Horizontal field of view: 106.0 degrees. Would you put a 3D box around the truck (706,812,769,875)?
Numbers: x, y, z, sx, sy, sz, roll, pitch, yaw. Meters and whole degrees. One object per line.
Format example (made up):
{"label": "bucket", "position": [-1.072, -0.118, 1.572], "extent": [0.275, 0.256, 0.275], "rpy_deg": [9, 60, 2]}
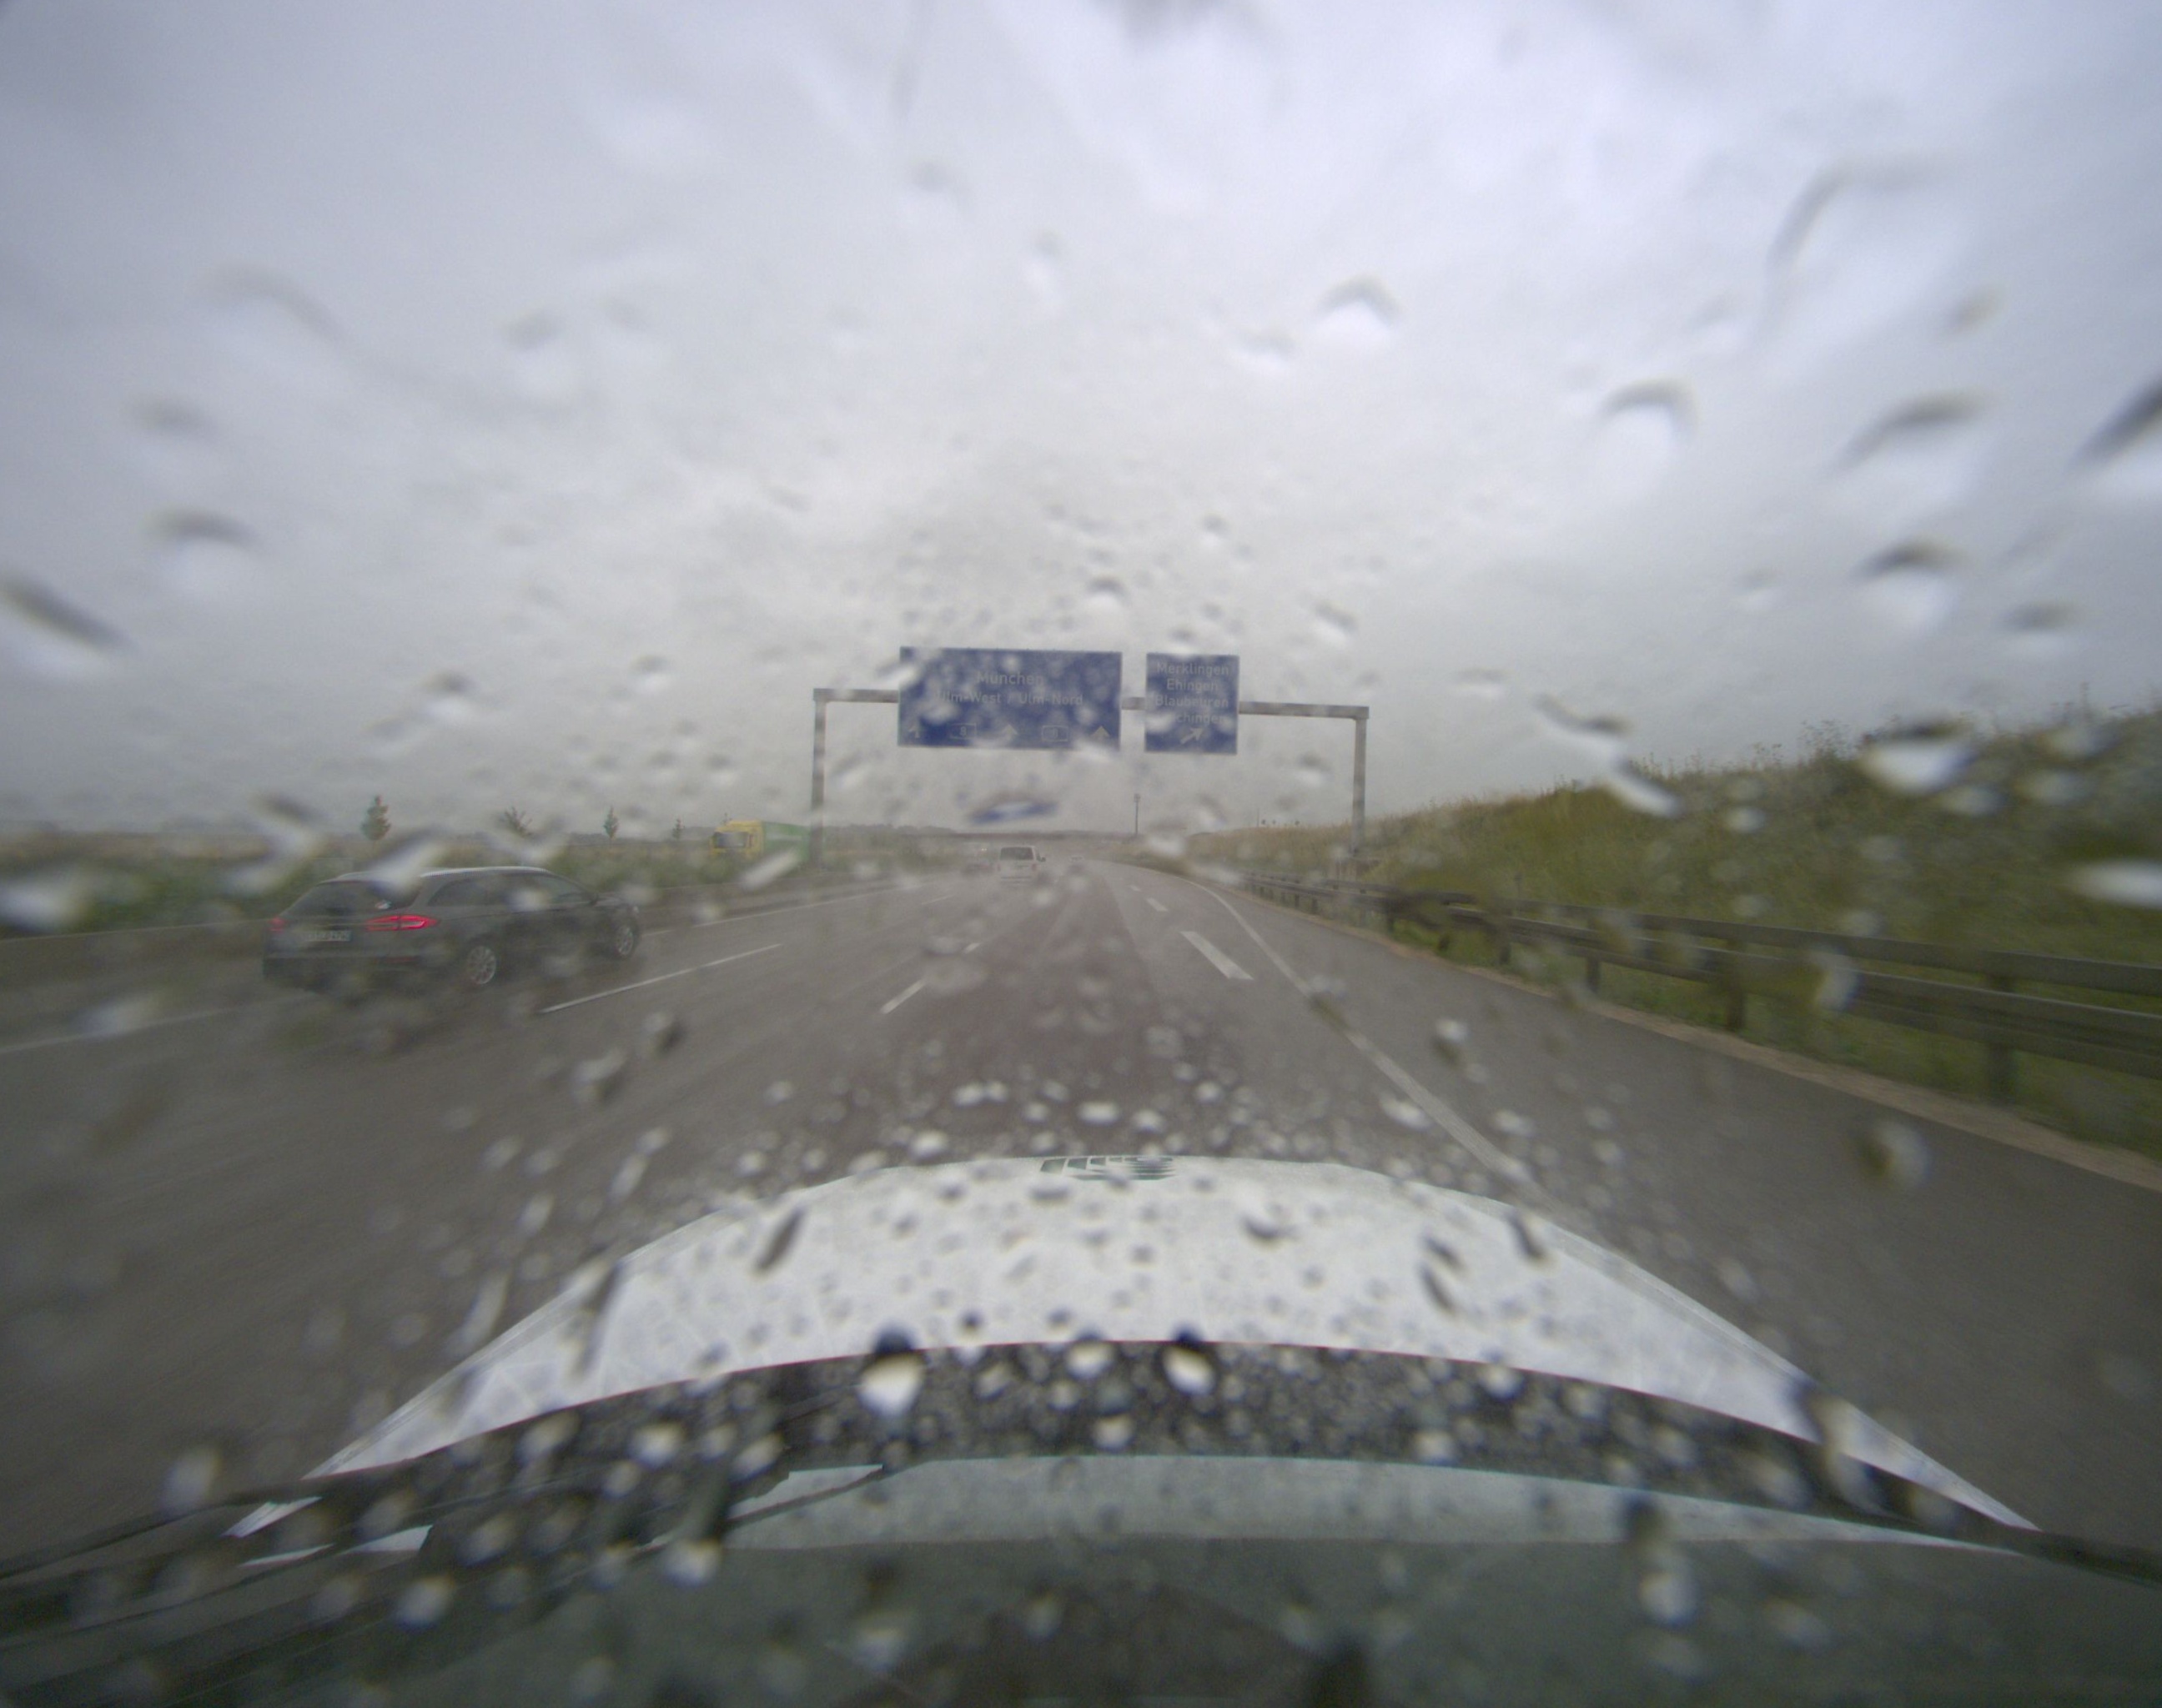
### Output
{"label": "truck", "position": [-22.630, -0.655, 53.849], "extent": [2.003, 3.991, 4.820], "rpy_deg": [-1, 0, 1]}

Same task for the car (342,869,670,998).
{"label": "car", "position": [-7.452, 0.923, 11.125], "extent": [1.607, 1.354, 4.000], "rpy_deg": [-1, 0, 1]}

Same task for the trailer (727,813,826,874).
{"label": "trailer", "position": [-22.559, -0.666, 61.474], "extent": [1.987, 4.040, 14.302], "rpy_deg": [-1, 0, 1]}

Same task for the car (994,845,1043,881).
{"label": "car", "position": [-2.849, 0.421, 37.898], "extent": [1.891, 1.585, 4.000], "rpy_deg": [0, 0, 0]}

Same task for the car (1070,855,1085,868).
{"label": "car", "position": [-0.362, 0.733, 81.644], "extent": [1.464, 1.208, 2.989], "rpy_deg": [-1, 0, -1]}

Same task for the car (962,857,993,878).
{"label": "car", "position": [-6.528, 0.819, 51.729], "extent": [1.462, 1.257, 3.341], "rpy_deg": [-1, 0, 1]}
